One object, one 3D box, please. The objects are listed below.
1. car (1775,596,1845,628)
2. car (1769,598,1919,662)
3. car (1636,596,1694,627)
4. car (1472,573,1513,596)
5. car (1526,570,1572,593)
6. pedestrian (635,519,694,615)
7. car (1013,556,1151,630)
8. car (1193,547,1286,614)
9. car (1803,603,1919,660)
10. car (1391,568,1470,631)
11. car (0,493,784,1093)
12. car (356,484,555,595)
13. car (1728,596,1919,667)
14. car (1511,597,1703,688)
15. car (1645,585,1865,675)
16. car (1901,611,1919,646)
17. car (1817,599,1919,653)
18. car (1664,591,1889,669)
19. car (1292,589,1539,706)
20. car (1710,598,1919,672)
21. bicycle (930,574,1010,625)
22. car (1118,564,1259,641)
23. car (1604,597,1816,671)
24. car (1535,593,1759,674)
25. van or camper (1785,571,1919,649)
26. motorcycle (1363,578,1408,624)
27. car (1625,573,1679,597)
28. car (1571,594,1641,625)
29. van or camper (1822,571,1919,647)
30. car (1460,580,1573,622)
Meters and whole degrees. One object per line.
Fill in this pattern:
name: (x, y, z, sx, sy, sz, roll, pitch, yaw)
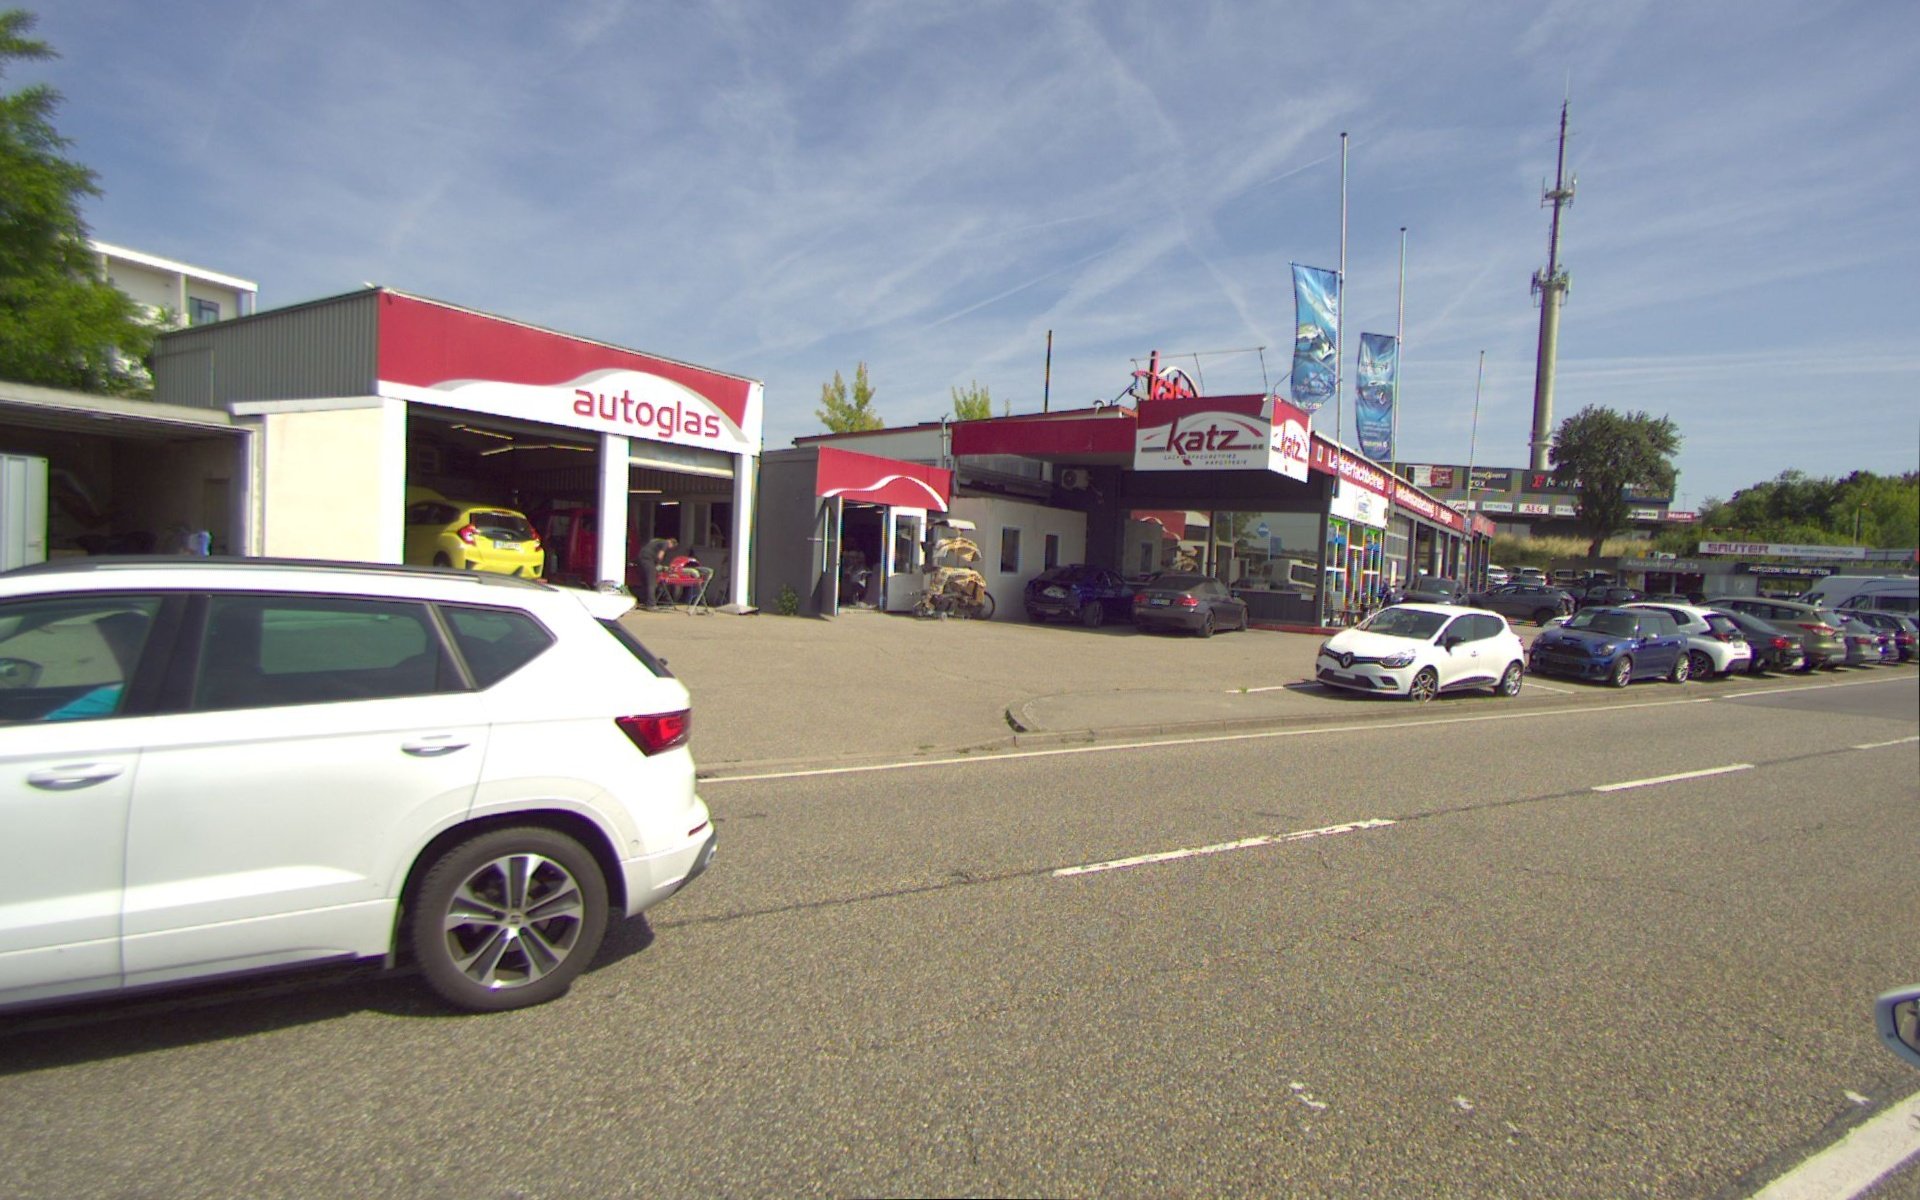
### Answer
car: (45.453, 0.620, 53.798, 1.735, 1.609, 3.827, 2, 1, 22)
car: (27.805, 0.904, 31.118, 1.784, 1.505, 3.817, 1, 5, -36)
car: (38.837, 0.620, 55.433, 1.735, 1.609, 3.827, 2, 1, 22)
car: (38.014, -1.116, 71.796, 1.701, 1.558, 3.750, 3, 1, 14)
car: (41.289, -1.302, 70.474, 1.701, 1.470, 3.750, 3, 1, 14)
pedestrian: (-5.729, -0.634, 19.459, 0.884, 1.786, 0.718, 2, 2, -31)
car: (3.165, -0.252, 25.402, 1.827, 1.525, 3.989, 7, 6, 32)
car: (8.475, -0.579, 30.266, 1.674, 1.782, 3.753, 6, 4, 30)
car: (29.973, 1.003, 32.555, 1.691, 1.577, 3.681, -1, 4, -36)
car: (15.446, 0.001, 32.857, 1.796, 1.696, 4.119, 9, 4, 30)
car: (-2.889, 0.549, 3.844, 3.953, 1.697, 1.926, 1, 0, -30)
car: (-9.388, -1.140, 18.629, 3.610, 1.748, 1.734, 7, 4, 34)
car: (25.958, 0.872, 29.982, 1.755, 1.505, 4.427, 1, 5, -36)
car: (13.141, 0.829, 20.357, 3.741, 1.514, 1.768, 1, 6, -33)
car: (19.738, 0.681, 25.098, 1.789, 1.740, 3.858, 1, 5, -36)
car: (41.835, 1.259, 41.643, 1.824, 1.468, 3.791, 1, 1, -35)
car: (31.835, 0.910, 34.155, 1.691, 1.505, 3.681, 1, 5, -36)
car: (21.620, 0.738, 26.773, 1.818, 1.505, 4.246, 1, 5, -36)
car: (7.468, 0.714, 16.397, 3.957, 1.640, 1.769, 1, 2, -33)
car: (23.974, 0.911, 28.177, 1.781, 1.505, 4.268, 1, 5, -35)
bicycle: (0.225, -0.016, 24.141, 1.966, 0.984, 0.414, 8, 5, 35)
car: (5.624, -0.028, 24.327, 1.828, 1.525, 4.382, 6, 5, 33)
car: (17.770, 0.741, 23.936, 1.775, 1.546, 3.682, 1, 1, -36)
car: (15.387, 0.689, 22.658, 1.829, 1.546, 3.769, 1, 1, -36)
van or camper: (37.226, 0.376, 40.352, 2.266, 2.912, 5.854, 0, 2, -34)
motorcycle: (12.492, 0.028, 29.451, 0.759, 1.278, 2.048, 2, 1, 35)
car: (46.190, -1.022, 67.078, 1.701, 1.470, 3.750, 3, 1, 14)
car: (36.737, 0.499, 57.208, 1.733, 1.609, 3.830, 2, 1, 5)
van or camper: (36.089, 0.356, 37.690, 2.187, 2.768, 5.214, 1, 2, -33)
car: (22.586, 0.014, 40.774, 3.883, 1.553, 1.764, 2, 1, 33)
